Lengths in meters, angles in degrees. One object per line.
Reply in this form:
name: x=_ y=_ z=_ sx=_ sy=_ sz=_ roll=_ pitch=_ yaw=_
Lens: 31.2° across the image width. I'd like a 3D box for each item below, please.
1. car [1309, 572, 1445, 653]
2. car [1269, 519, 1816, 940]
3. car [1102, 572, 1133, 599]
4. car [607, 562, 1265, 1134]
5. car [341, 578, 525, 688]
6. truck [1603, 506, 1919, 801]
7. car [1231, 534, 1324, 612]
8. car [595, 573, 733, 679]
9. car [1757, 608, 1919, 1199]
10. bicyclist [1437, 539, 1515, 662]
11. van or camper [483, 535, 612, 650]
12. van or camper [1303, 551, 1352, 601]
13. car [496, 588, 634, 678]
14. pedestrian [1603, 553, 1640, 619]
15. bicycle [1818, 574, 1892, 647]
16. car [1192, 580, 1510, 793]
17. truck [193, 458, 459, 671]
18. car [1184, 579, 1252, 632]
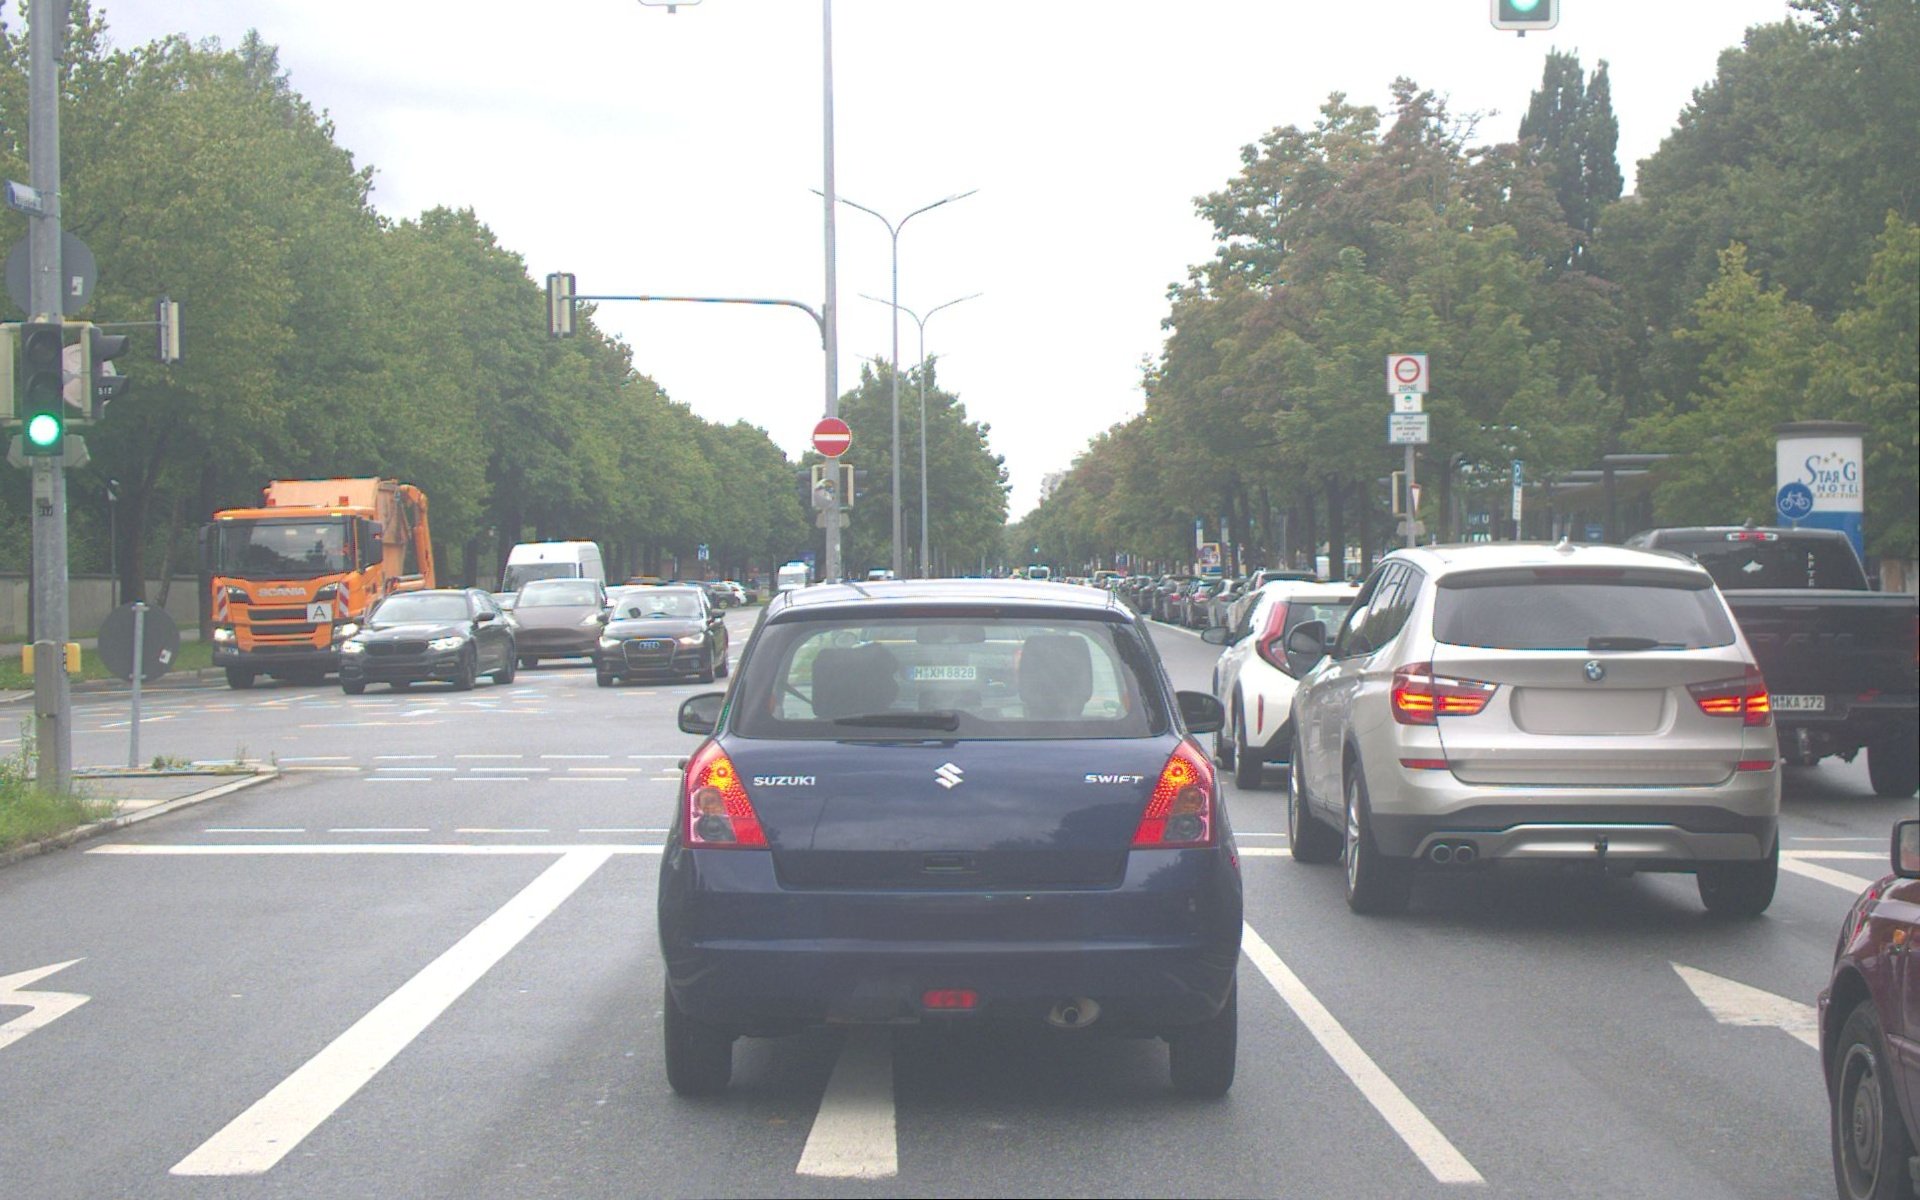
car: x=7.183 y=0.191 z=59.552 sx=1.710 sy=1.356 sz=4.621 roll=0 pitch=0 yaw=-1
car: x=2.604 y=0.524 z=16.331 sx=1.850 sy=1.737 sz=4.098 roll=0 pitch=0 yaw=-1
car: x=8.980 y=-0.834 z=196.611 sx=1.684 sy=1.520 sz=4.455 roll=1 pitch=0 yaw=2
car: x=-0.087 y=0.662 z=11.397 sx=1.789 sy=1.550 sz=4.000 roll=0 pitch=0 yaw=-1
car: x=-7.712 y=0.452 z=50.750 sx=1.926 sy=1.457 sz=4.898 roll=-2 pitch=0 yaw=0
truck: x=6.143 y=0.347 z=26.359 sx=2.099 sy=2.007 sz=5.810 roll=-1 pitch=0 yaw=8
car: x=7.175 y=-0.628 z=78.118 sx=1.747 sy=1.718 sz=4.906 roll=0 pitch=1 yaw=1
car: x=-4.291 y=0.357 z=50.305 sx=1.639 sy=1.482 sz=3.781 roll=-1 pitch=0 yaw=1
car: x=2.757 y=0.755 z=6.447 sx=1.622 sy=1.449 sz=3.950 roll=0 pitch=0 yaw=0
bicyclist: x=7.495 y=0.004 z=49.938 sx=0.825 sy=1.758 sz=0.746 roll=-1 pitch=0 yaw=-34
van or camper: x=-10.132 y=-0.206 z=84.969 sx=2.178 sy=2.638 sz=6.951 roll=-2 pitch=0 yaw=1
van or camper: x=19.271 y=-1.265 z=180.300 sx=2.024 sy=2.549 sz=5.956 roll=-1 pitch=0 yaw=1
car: x=-7.142 y=0.569 z=62.532 sx=1.862 sy=1.536 sz=4.749 roll=-1 pitch=0 yaw=1
pedestrian: x=15.173 y=-0.333 z=78.890 sx=0.578 sy=1.508 sz=0.694 roll=0 pitch=0 yaw=-17
bicycle: x=15.270 y=0.161 z=58.683 sx=0.861 sy=1.194 sz=1.999 roll=-2 pitch=0 yaw=5
car: x=2.826 y=0.583 z=25.669 sx=1.850 sy=1.442 sz=4.098 roll=0 pitch=0 yaw=-1
truck: x=-10.491 y=-0.569 z=57.635 sx=2.781 sy=3.345 sz=7.265 roll=0 pitch=0 yaw=3
car: x=7.505 y=0.148 z=100.185 sx=1.717 sy=1.503 sz=4.223 roll=0 pitch=0 yaw=1
